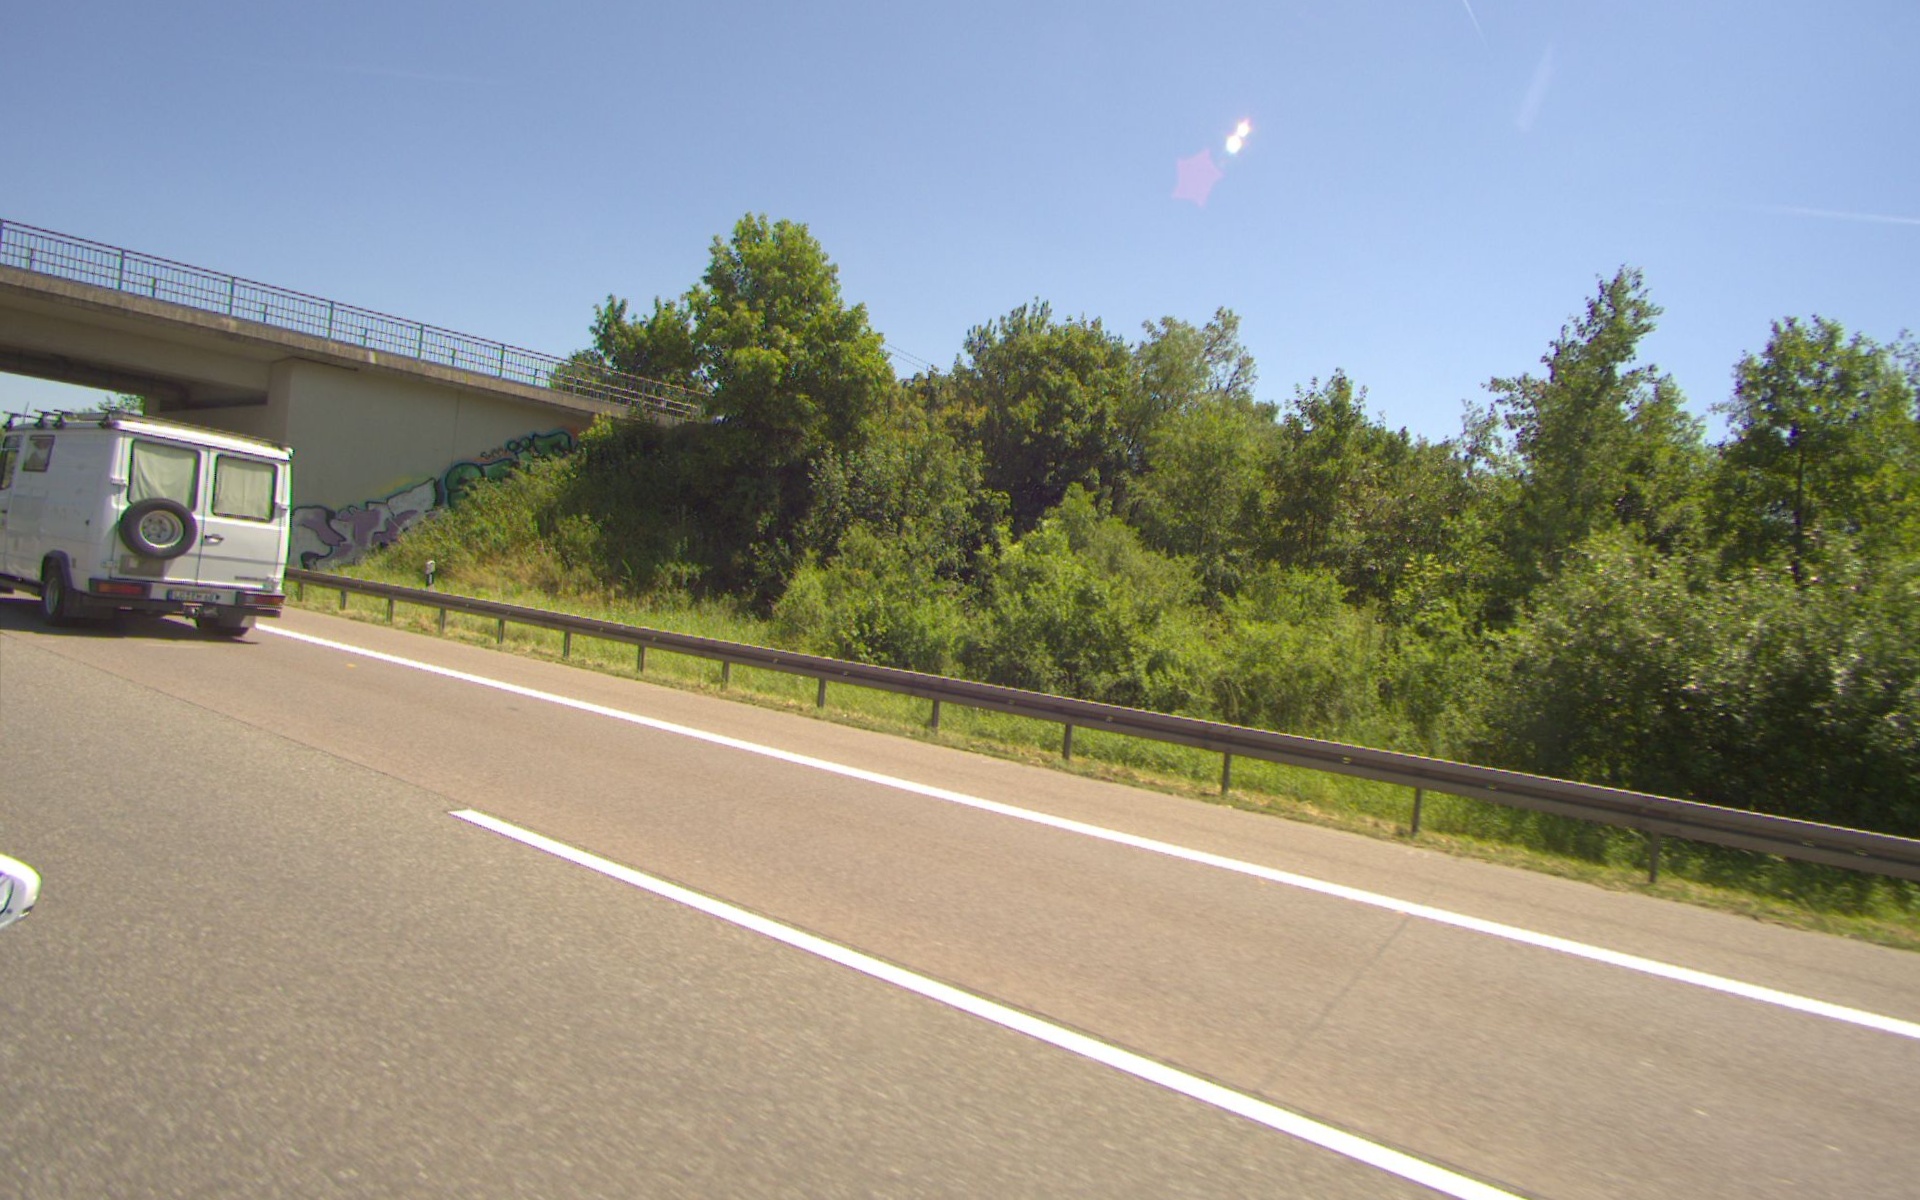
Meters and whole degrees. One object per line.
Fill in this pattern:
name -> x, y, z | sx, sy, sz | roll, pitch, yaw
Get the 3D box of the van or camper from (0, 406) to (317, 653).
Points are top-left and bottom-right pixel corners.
van or camper -> -11.833, -1.042, 14.069 | 6.263, 2.735, 2.117 | 6, -1, 32
